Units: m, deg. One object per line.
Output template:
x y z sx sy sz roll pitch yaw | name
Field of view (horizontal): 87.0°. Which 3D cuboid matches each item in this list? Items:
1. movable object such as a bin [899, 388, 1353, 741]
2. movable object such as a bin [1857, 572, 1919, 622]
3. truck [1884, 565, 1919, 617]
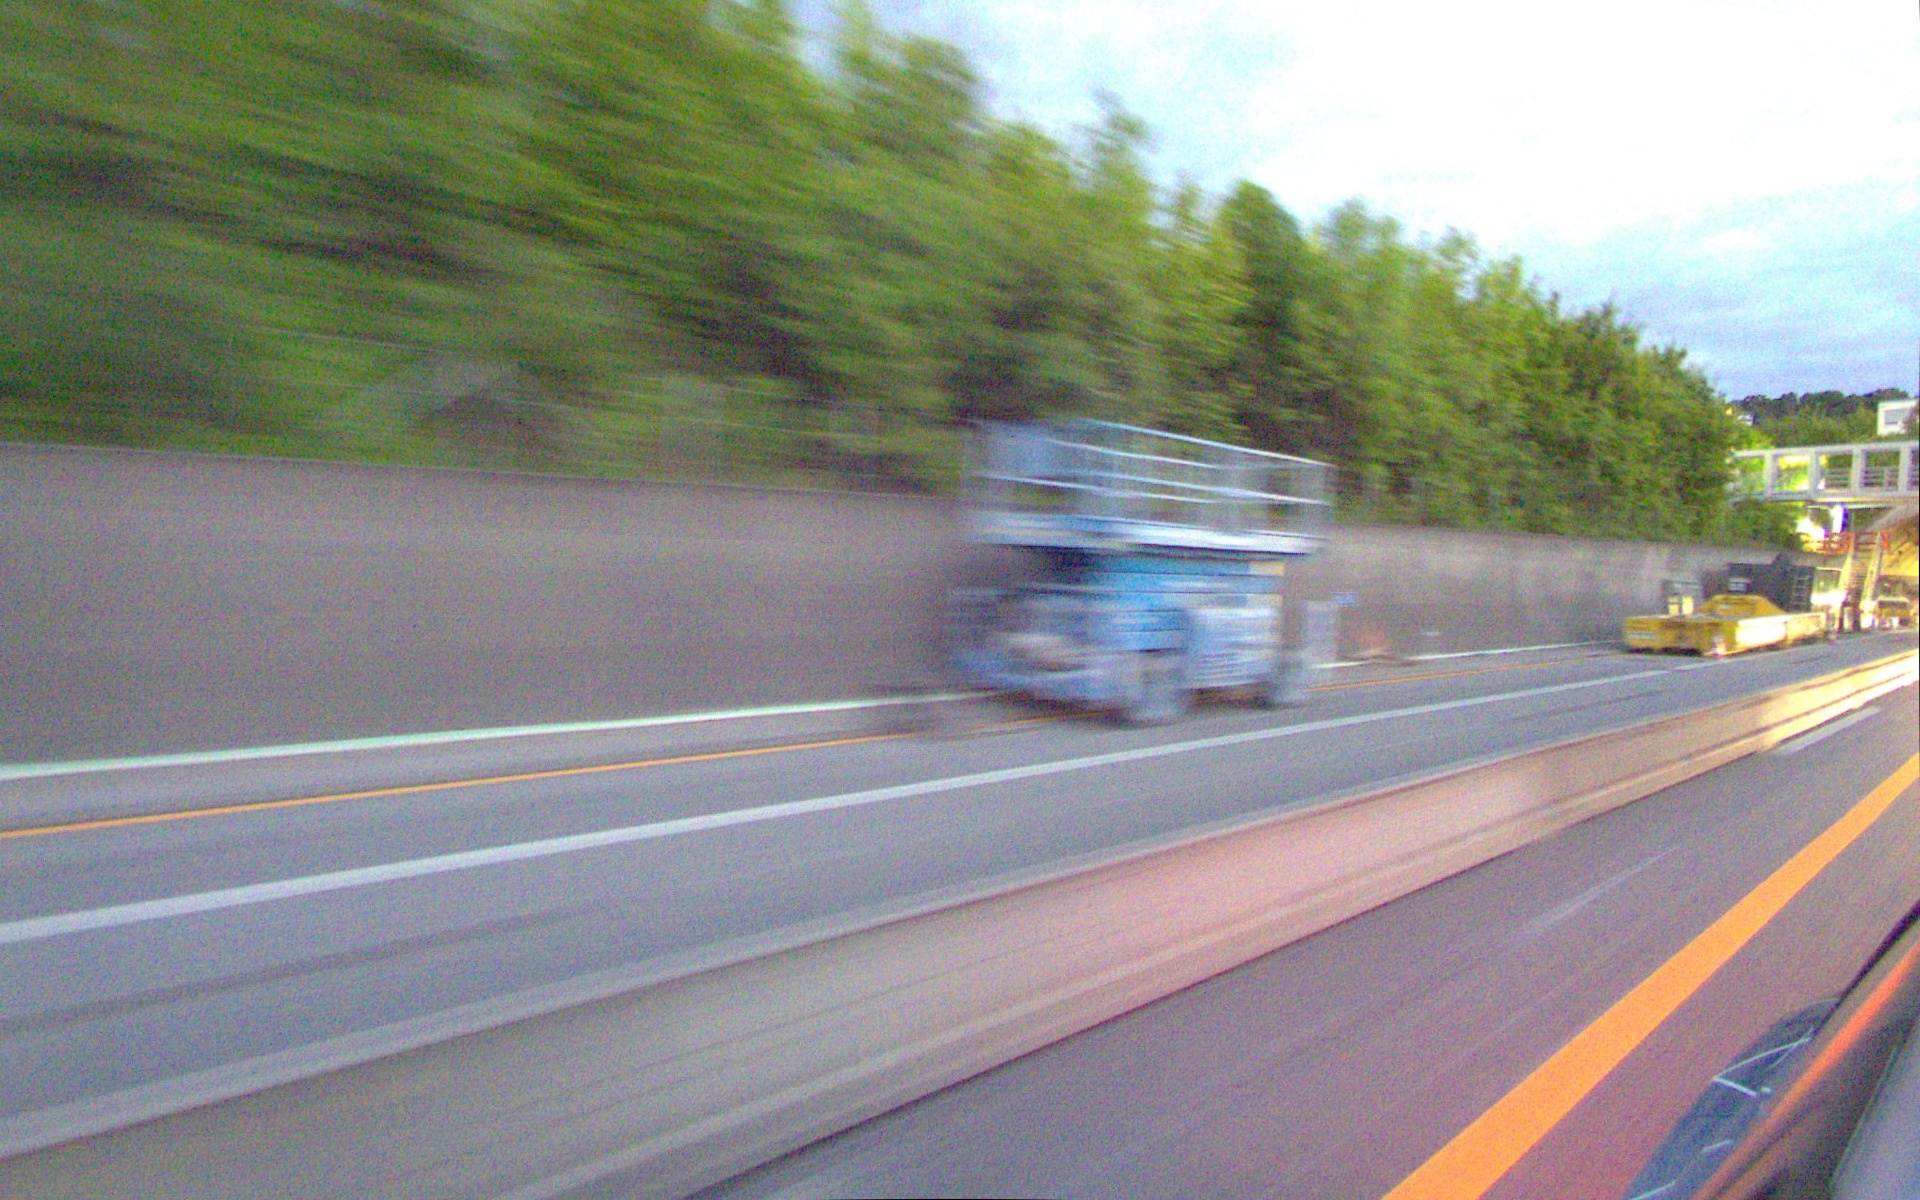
2.216 -0.408 12.438 5.482 3.359 2.569 -1 2 -41 | movable object such as a bin
56.562 -0.186 61.074 7.075 2.863 2.973 -1 0 -43 | movable object such as a bin
64.373 -0.596 67.649 8.206 3.327 2.823 -1 0 -41 | truck
